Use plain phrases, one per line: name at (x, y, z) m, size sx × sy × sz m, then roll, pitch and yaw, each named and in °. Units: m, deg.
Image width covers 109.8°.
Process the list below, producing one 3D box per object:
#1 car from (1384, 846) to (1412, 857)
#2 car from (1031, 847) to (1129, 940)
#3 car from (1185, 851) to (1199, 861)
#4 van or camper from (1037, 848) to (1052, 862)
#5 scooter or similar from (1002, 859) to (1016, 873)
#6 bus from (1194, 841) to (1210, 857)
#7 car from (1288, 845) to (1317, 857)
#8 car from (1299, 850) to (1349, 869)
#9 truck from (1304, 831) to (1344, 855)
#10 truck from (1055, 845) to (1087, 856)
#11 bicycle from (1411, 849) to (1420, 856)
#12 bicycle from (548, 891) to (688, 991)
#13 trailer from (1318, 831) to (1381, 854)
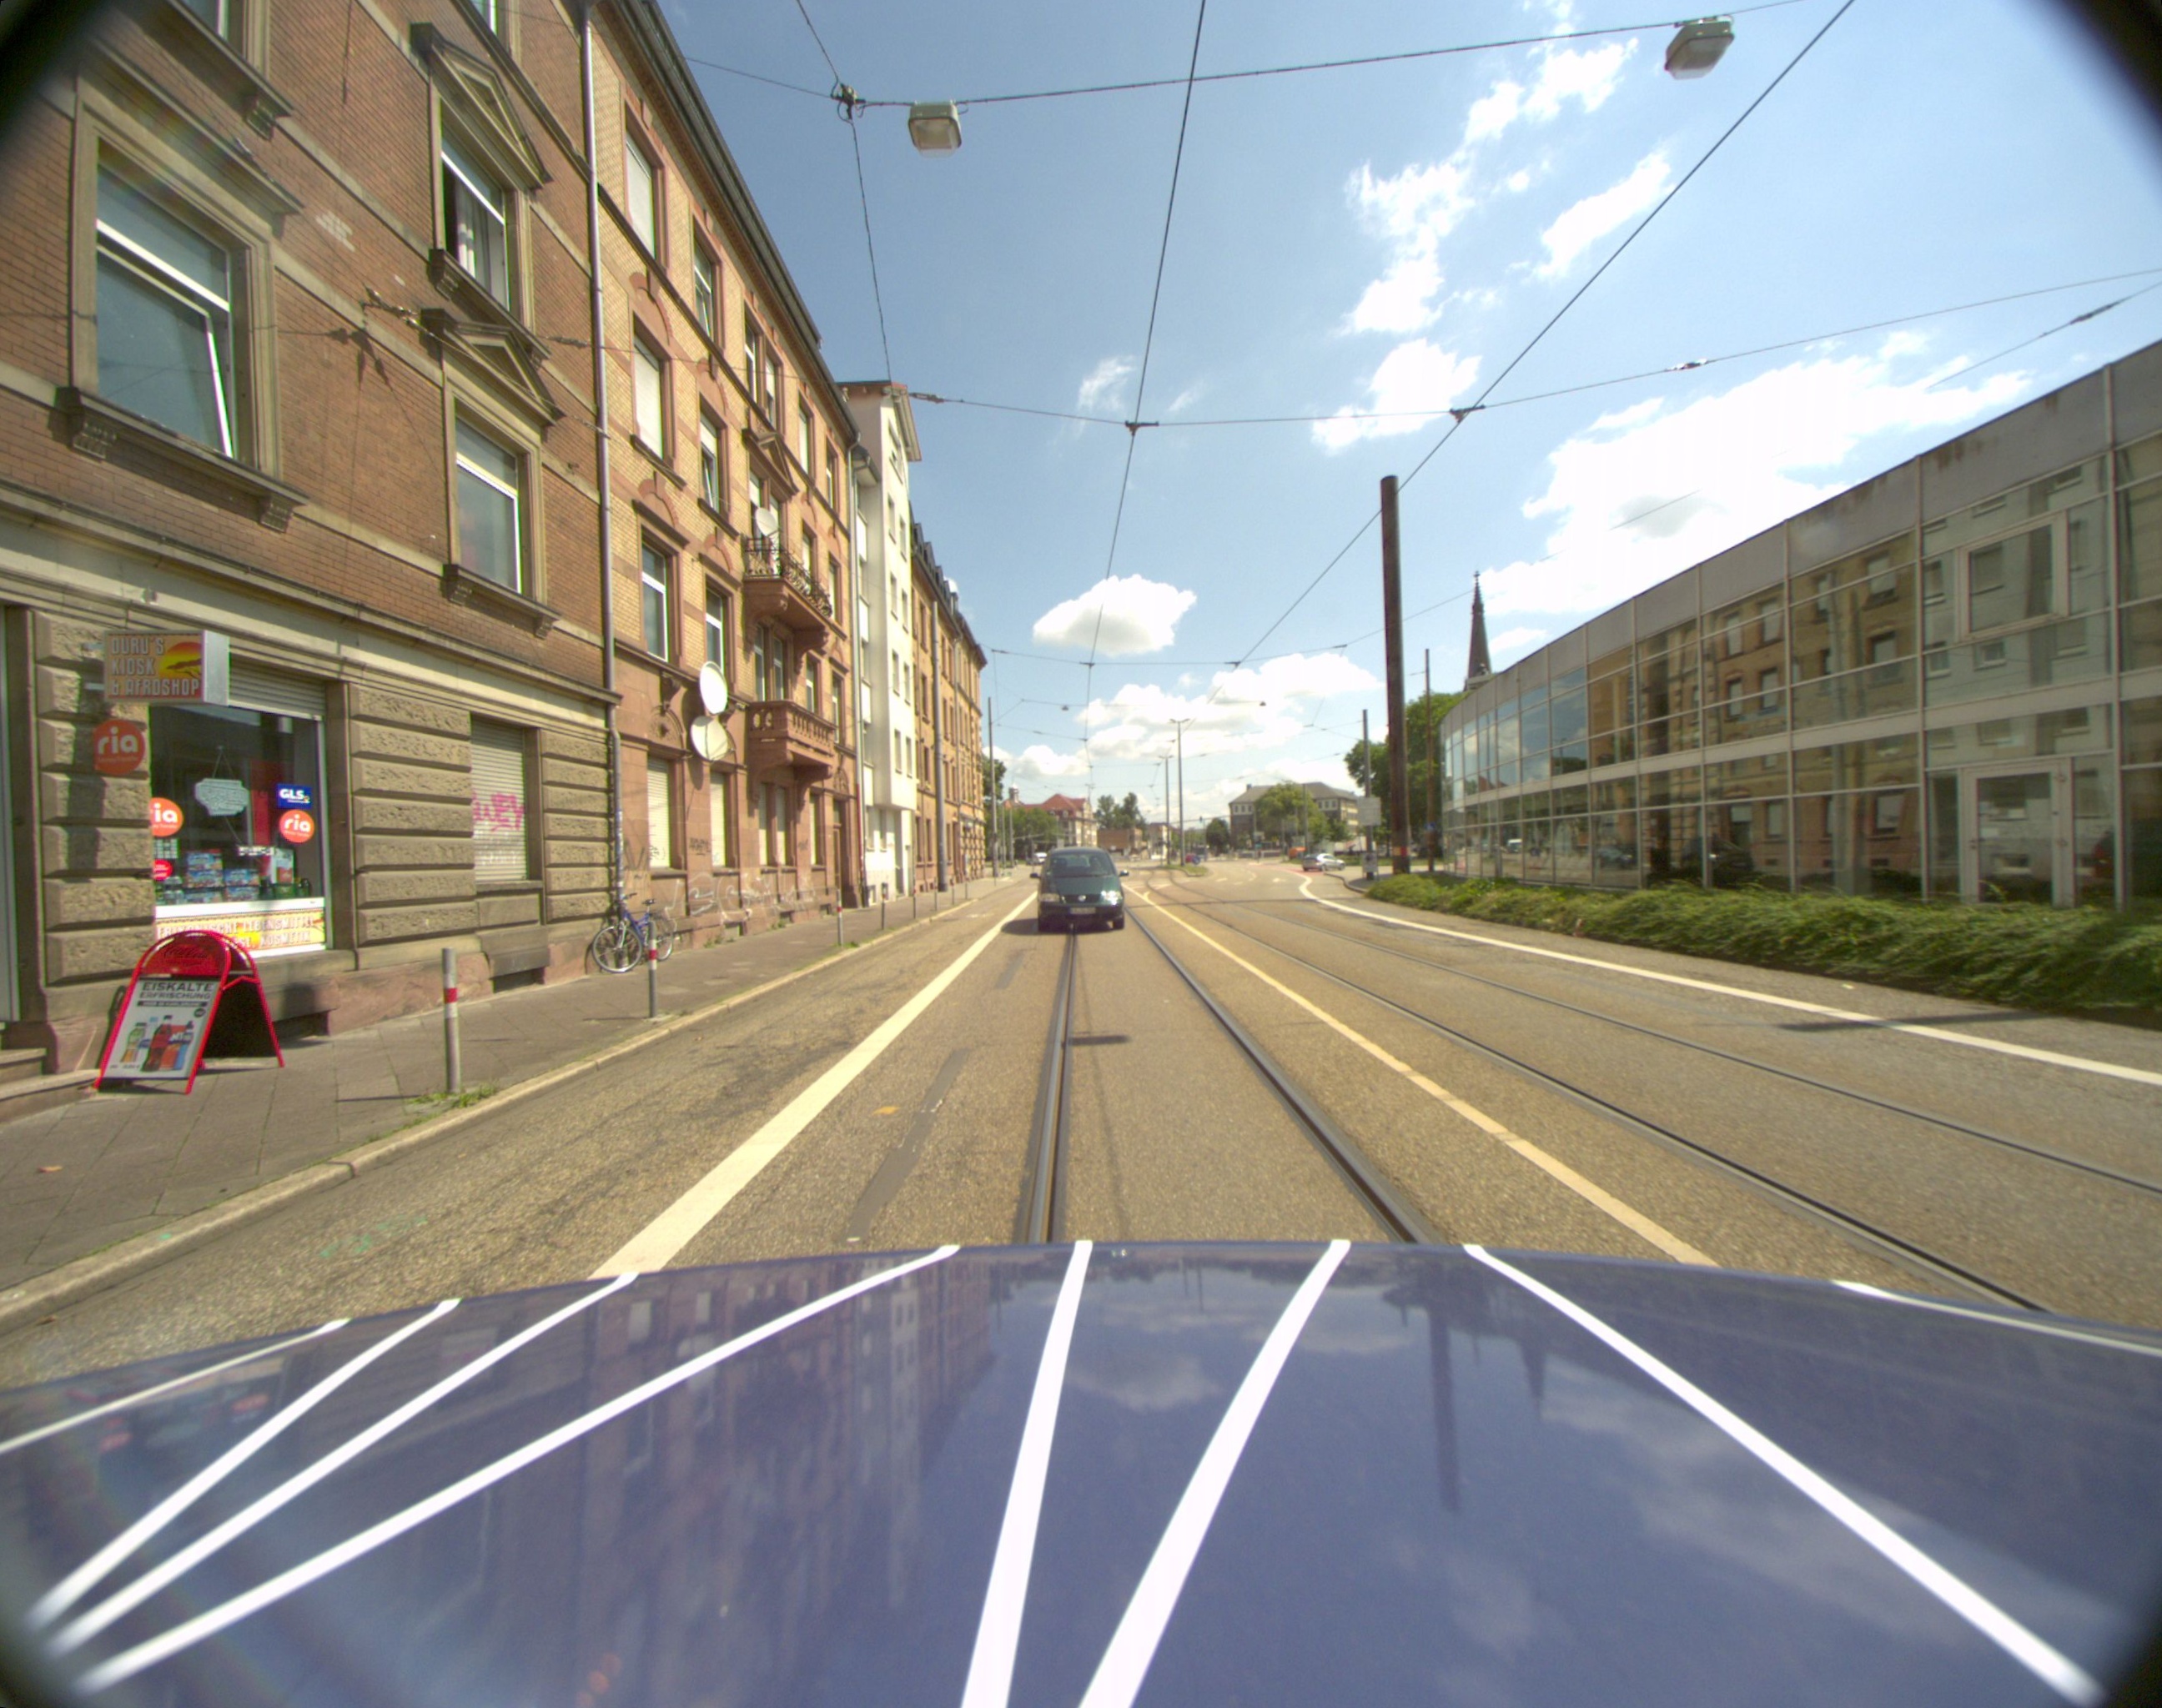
car at (53.089, -0.390, 127.277) m, size 4.164 × 1.633 × 1.632 m, roll -1°, pitch 0°, yaw 18°
car at (-0.010, 0.744, 16.652) m, size 1.819 × 1.707 × 4.085 m, roll -3°, pitch 0°, yaw 0°
car at (16.418, 0.247, 112.641) m, size 1.706 × 1.420 × 3.902 m, roll 0°, pitch 0°, yaw 1°
van or camper at (-7.542, 0.211, 155.564) m, size 2.234 × 2.719 × 5.515 m, roll -2°, pitch 0°, yaw -12°
scooter or similar at (-6.196, 1.042, 65.169) m, size 0.949 × 1.173 × 1.086 m, roll -1°, pitch 1°, yaw 7°
bus at (27.056, -1.022, 169.656) m, size 2.947 × 3.427 × 7.954 m, roll -1°, pitch 0°, yaw 11°
car at (35.615, -0.439, 122.220) m, size 4.373 × 1.855 × 1.913 m, roll 0°, pitch 0°, yaw -26°
car at (19.430, 0.425, 60.733) m, size 4.195 × 1.411 × 1.815 m, roll -2°, pitch 0°, yaw -40°
truck at (43.846, -1.996, 137.244) m, size 6.889 × 4.095 × 2.957 m, roll -2°, pitch 1°, yaw -30°
truck at (-2.898, -1.083, 220.958) m, size 8.749 × 2.981 × 3.347 m, roll -2°, pitch 2°, yaw -36°
bicycle at (51.777, -0.244, 117.597) m, size 0.460 × 1.139 × 1.270 m, roll -1°, pitch 0°, yaw -34°
bicycle at (-6.556, 1.173, 10.924) m, size 0.588 × 1.171 × 2.205 m, roll -1°, pitch 0°, yaw 1°
trailer at (49.777, -2.171, 140.740) m, size 13.439 × 4.052 × 2.942 m, roll -2°, pitch 0°, yaw -31°
